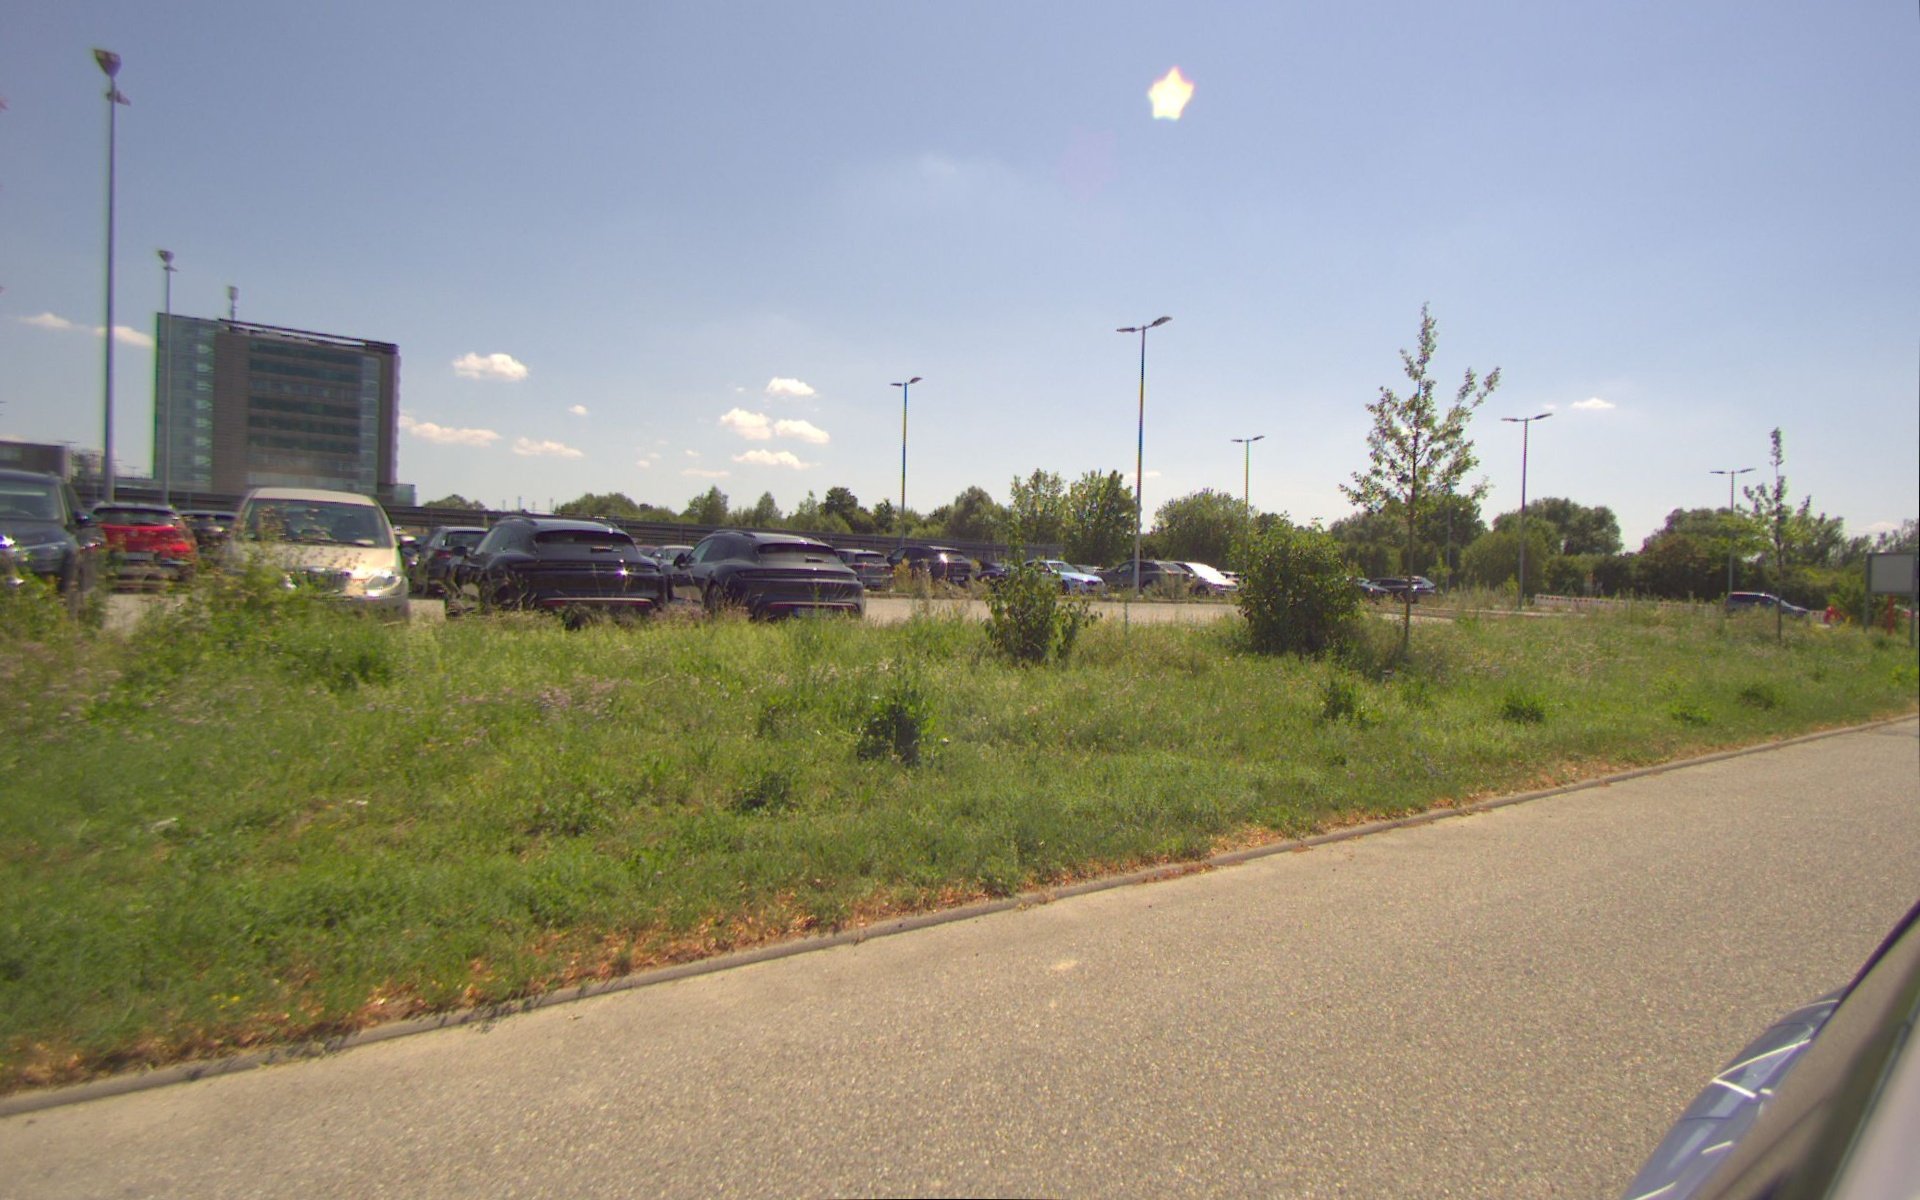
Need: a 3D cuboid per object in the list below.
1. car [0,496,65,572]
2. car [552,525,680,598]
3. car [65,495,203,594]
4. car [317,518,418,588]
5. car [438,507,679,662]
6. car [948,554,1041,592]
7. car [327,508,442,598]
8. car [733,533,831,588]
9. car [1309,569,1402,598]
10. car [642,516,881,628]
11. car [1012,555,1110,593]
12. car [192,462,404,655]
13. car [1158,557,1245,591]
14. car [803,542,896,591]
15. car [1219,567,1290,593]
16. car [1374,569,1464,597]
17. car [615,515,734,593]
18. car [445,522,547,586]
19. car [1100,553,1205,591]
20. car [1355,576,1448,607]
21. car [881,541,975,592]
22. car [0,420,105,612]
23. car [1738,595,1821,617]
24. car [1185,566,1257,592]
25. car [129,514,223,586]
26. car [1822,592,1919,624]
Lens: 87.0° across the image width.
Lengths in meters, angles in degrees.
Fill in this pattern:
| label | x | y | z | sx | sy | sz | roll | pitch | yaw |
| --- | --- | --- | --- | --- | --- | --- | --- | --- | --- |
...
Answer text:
| label | x | y | z | sx | sy | sz | roll | pitch | yaw |
| --- | --- | --- | --- | --- | --- | --- | --- | --- | --- |
| car | -20.565 | -1.441 | 21.787 | 1.568 | 1.517 | 3.640 | 0 | 3 | -36 |
| car | -7.875 | -0.913 | 22.987 | 1.736 | 1.517 | 3.641 | 0 | 3 | -36 |
| car | -14.986 | -1.017 | 18.530 | 1.736 | 1.617 | 3.641 | 0 | 3 | -36 |
| car | -14.141 | -1.147 | 24.081 | 1.736 | 1.517 | 3.641 | 0 | 3 | -36 |
| car | -5.121 | -0.268 | 12.520 | 1.781 | 1.564 | 4.404 | 0 | 3 | -35 |
| car | 1.182 | -0.976 | 36.280 | 1.528 | 1.177 | 3.464 | 1 | 3 | -35 |
| car | -11.267 | -0.920 | 19.709 | 1.494 | 1.593 | 3.419 | -1 | 3 | -38 |
| car | -5.616 | -1.254 | 31.639 | 1.531 | 1.529 | 3.786 | 1 | 3 | -35 |
| car | 19.508 | -0.796 | 50.035 | 1.617 | 1.368 | 3.996 | -1 | 0 | -38 |
| car | -2.875 | -0.345 | 13.955 | 1.872 | 1.308 | 4.001 | -1 | 1 | -33 |
| car | 3.797 | -1.007 | 38.636 | 1.580 | 1.251 | 3.852 | 1 | 3 | -35 |
| car | -7.049 | -0.460 | 10.636 | 1.587 | 1.644 | 3.850 | 0 | 3 | -37 |
| car | 10.158 | -1.116 | 42.757 | 1.437 | 1.238 | 3.465 | 1 | 4 | -35 |
| car | -3.670 | -1.122 | 33.164 | 1.531 | 1.408 | 3.441 | 1 | 3 | -35 |
| car | 18.035 | -1.198 | 62.030 | 1.617 | 1.486 | 3.996 | -1 | 0 | -38 |
| car | 23.989 | -0.866 | 53.000 | 1.617 | 1.368 | 3.996 | -1 | 0 | -38 |
| car | -8.207 | -1.249 | 28.915 | 1.963 | 2.039 | 3.998 | -1 | 0 | -37 |
| car | -12.077 | -1.205 | 26.231 | 1.736 | 1.517 | 3.641 | 0 | 3 | -36 |
| car | 7.700 | -1.162 | 40.895 | 1.528 | 1.312 | 4.305 | 1 | 3 | -35 |
| car | 22.184 | -0.449 | 50.957 | 1.617 | 1.367 | 3.999 | 0 | 3 | -38 |
| car | -1.124 | -1.155 | 34.429 | 1.531 | 1.564 | 3.441 | 1 | 3 | -35 |
| car | -9.487 | -0.681 | 9.746 | 1.656 | 1.448 | 4.036 | 0 | -3 | -37 |
| car | 53.739 | 0.356 | 66.418 | 1.617 | 1.368 | 3.996 | -1 | 0 | -38 |
| car | 15.437 | -1.219 | 59.980 | 1.617 | 1.486 | 3.996 | -1 | 0 | -38 |
| car | -17.944 | -1.165 | 23.289 | 1.568 | 1.517 | 3.641 | 0 | 3 | -36 |
| car | 42.316 | 0.346 | 46.397 | 1.617 | 1.368 | 3.996 | -1 | 0 | -38 |
